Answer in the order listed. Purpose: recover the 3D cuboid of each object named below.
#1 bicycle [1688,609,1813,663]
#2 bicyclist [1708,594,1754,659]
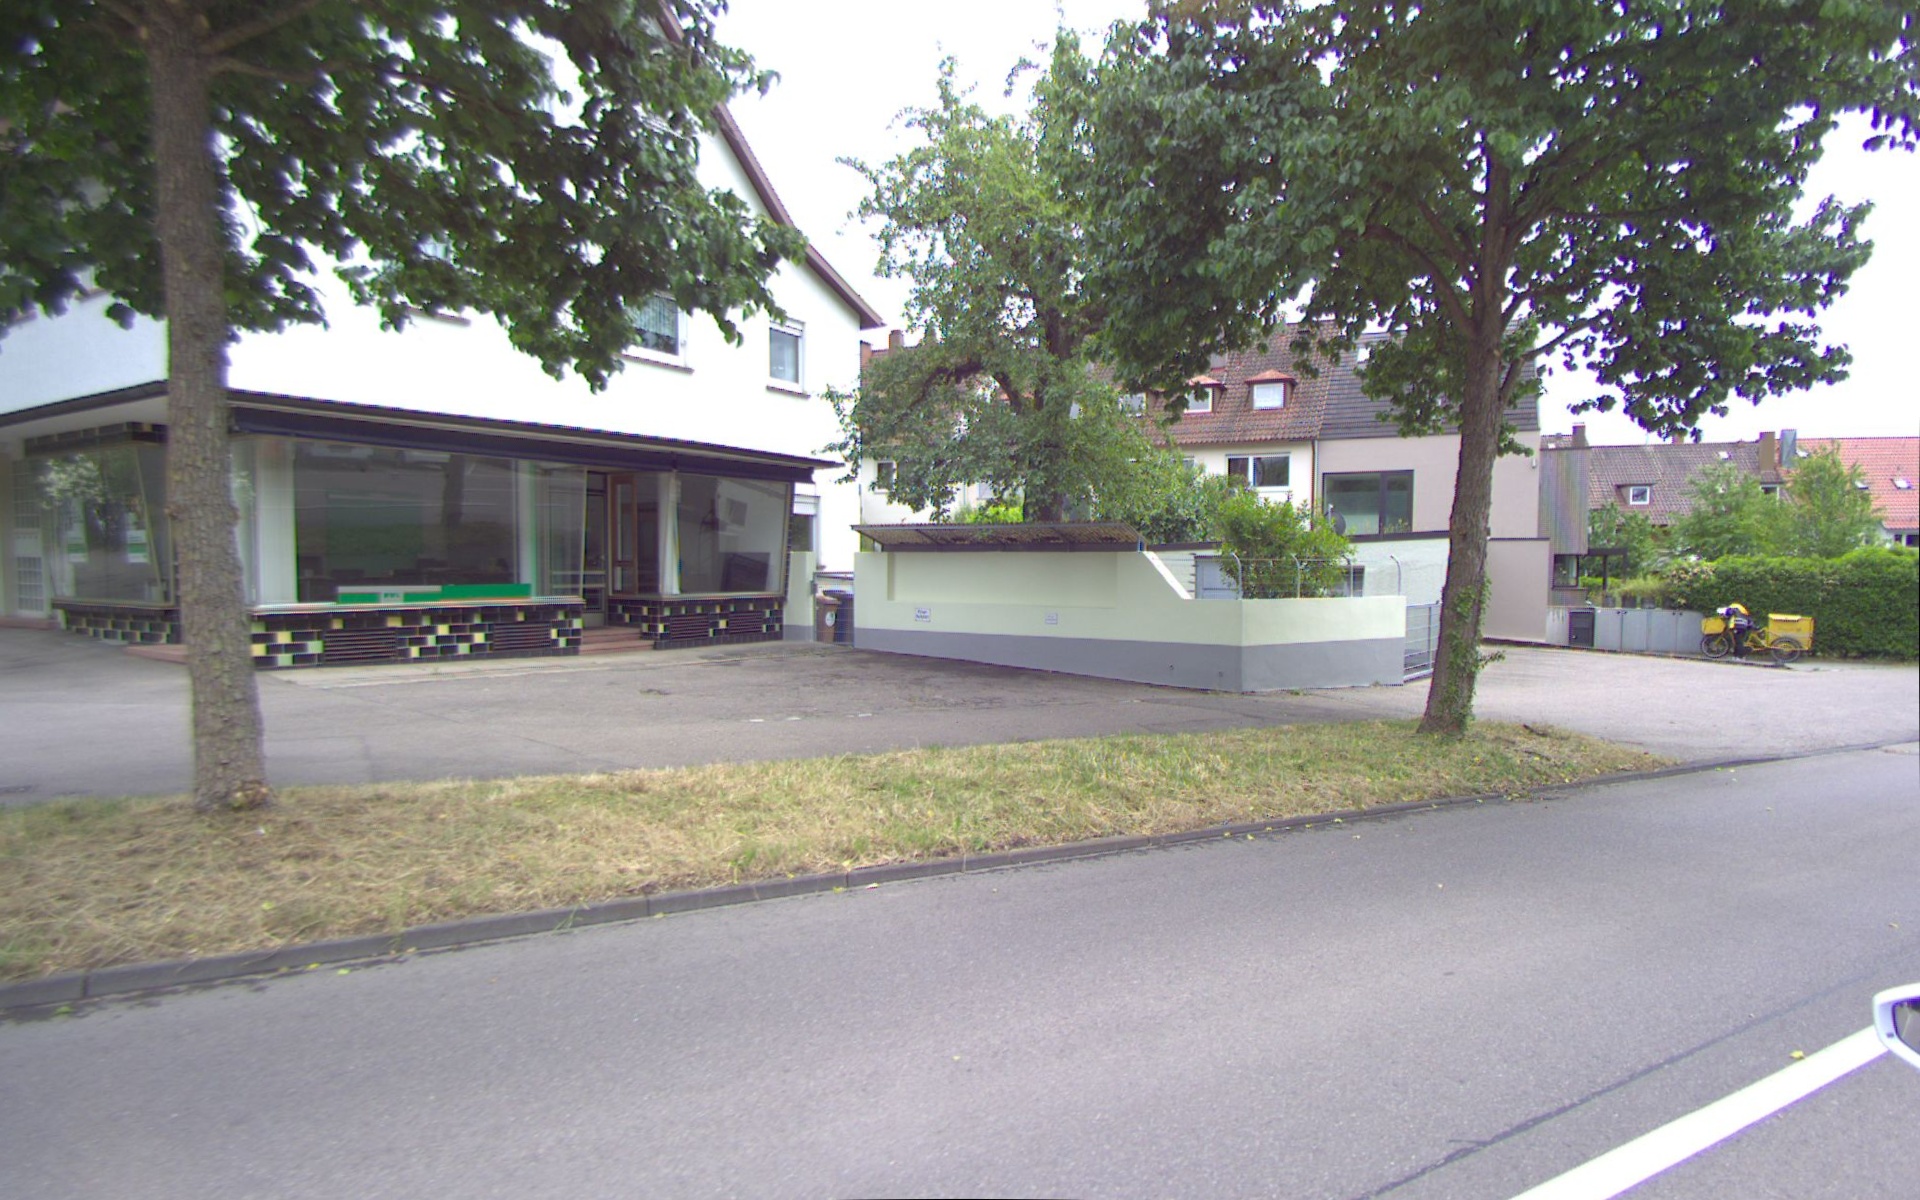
[{"bbox_3d":[21.663,0.945,27.573,2.612,1.283,0.843,3,3,41],"label":"bicycle"},{"bbox_3d":[21.214,0.712,27.630,0.838,1.720,0.707,0,3,-33],"label":"bicyclist"}]
